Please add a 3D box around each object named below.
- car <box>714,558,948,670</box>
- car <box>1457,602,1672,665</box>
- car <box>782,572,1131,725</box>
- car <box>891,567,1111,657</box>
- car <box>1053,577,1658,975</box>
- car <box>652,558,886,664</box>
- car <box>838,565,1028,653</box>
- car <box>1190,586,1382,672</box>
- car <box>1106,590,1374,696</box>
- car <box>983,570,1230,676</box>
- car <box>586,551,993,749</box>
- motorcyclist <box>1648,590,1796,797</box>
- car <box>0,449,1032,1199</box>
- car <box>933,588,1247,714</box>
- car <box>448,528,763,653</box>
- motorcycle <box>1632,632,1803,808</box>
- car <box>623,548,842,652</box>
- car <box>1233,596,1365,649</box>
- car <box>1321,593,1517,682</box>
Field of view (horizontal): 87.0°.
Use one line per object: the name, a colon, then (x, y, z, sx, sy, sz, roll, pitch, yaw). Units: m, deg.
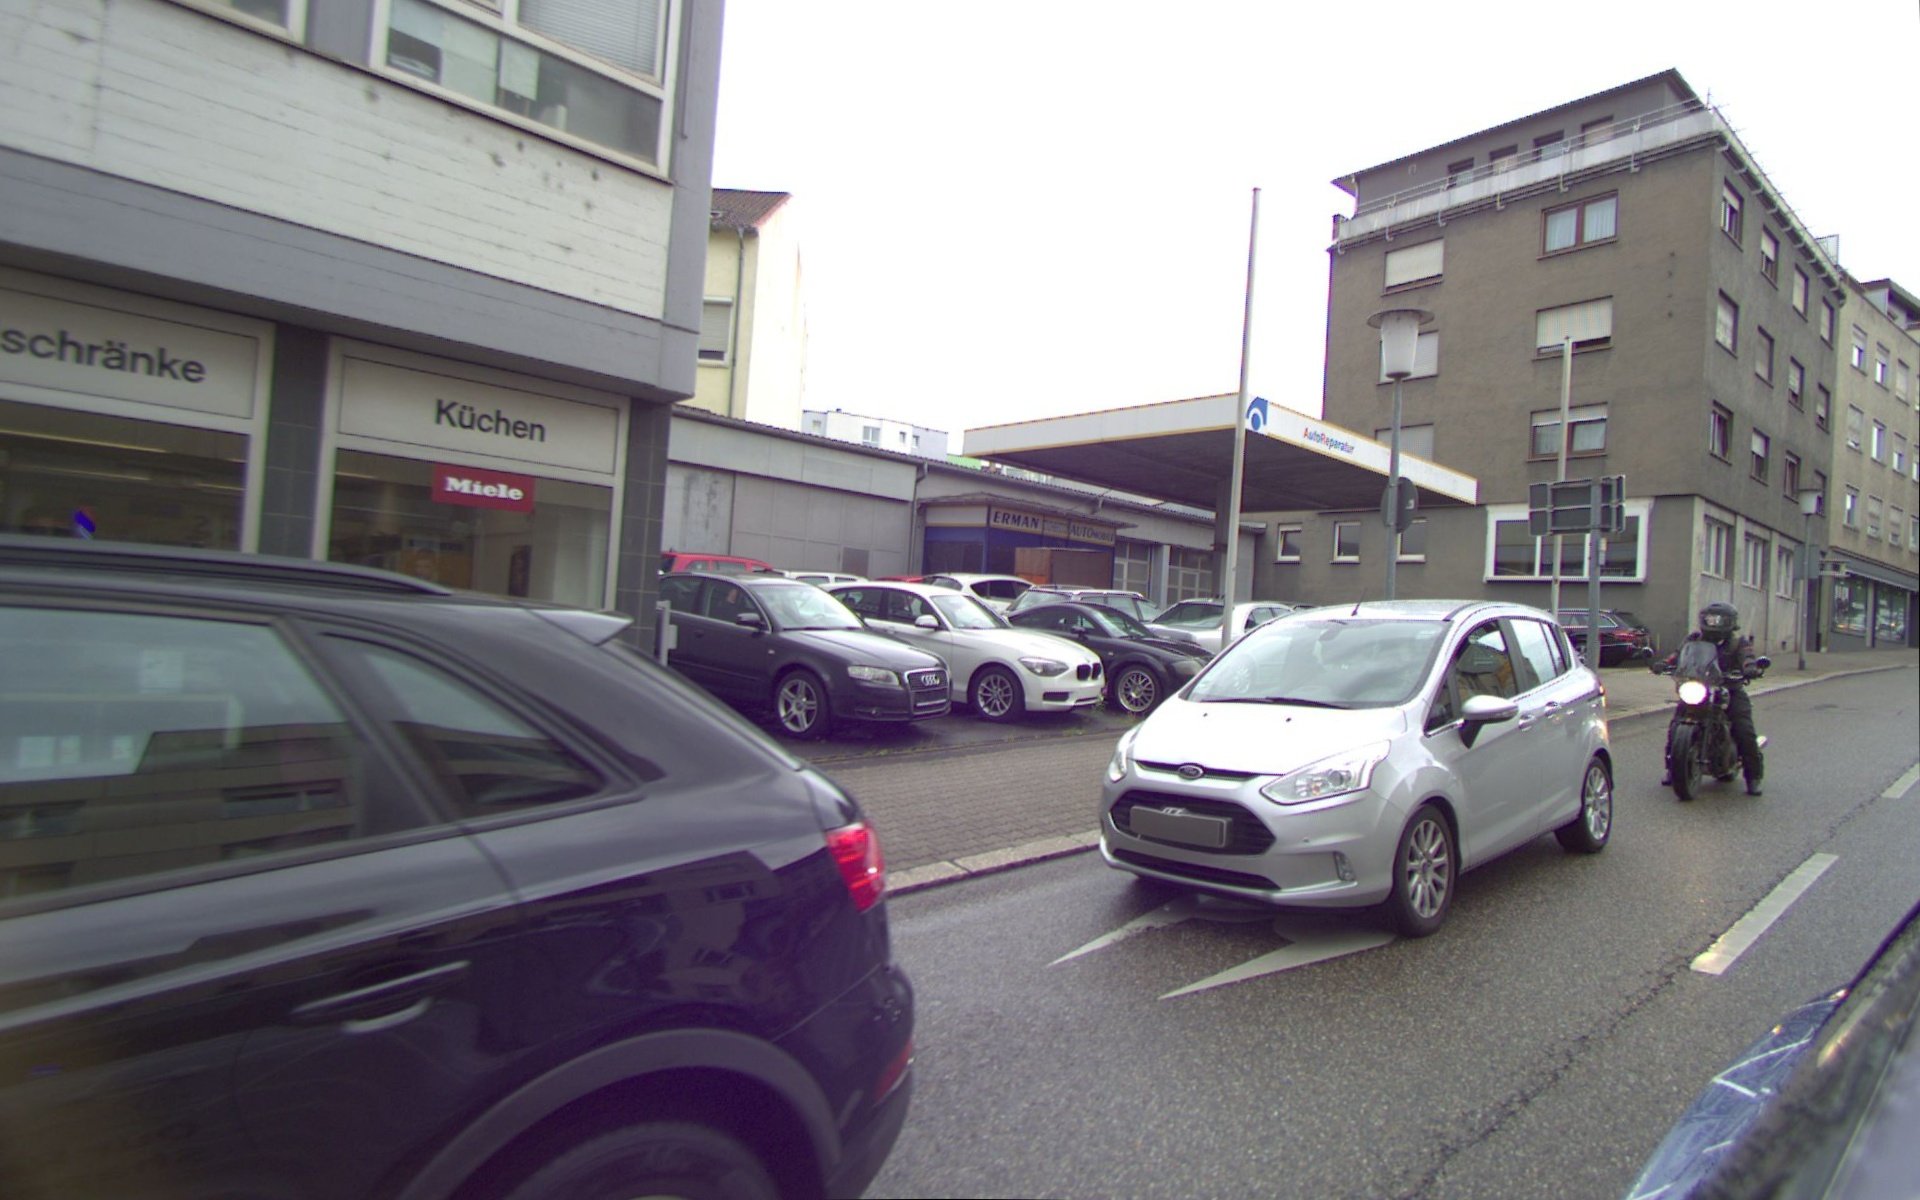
car: (-2.135, 0.201, 17.055, 3.456, 1.619, 1.793, 1, 3, -40)
car: (15.954, 0.833, 26.934, 1.962, 1.523, 4.534, 1, -1, -36)
car: (-0.110, 0.471, 12.333, 3.973, 1.549, 1.742, 2, 1, 34)
car: (0.901, 0.216, 20.292, 4.340, 1.620, 1.792, 1, 1, -40)
car: (2.625, 0.734, 6.123, 4.182, 1.561, 1.827, 1, -3, -44)
car: (-3.474, 0.177, 18.780, 3.879, 1.752, 1.792, 1, 1, -40)
car: (-0.538, 0.176, 22.104, 3.879, 1.752, 1.792, 1, 1, -40)
car: (7.058, 0.627, 21.700, 4.339, 1.530, 1.793, 3, 3, -40)
car: (4.602, 0.623, 16.305, 4.531, 1.433, 1.793, 1, 2, -38)
car: (2.701, 0.419, 18.056, 4.411, 1.563, 1.793, 3, 3, -40)
car: (-1.848, 0.379, 10.514, 3.973, 1.468, 1.777, 6, 3, 33)
motorcyclist: (6.414, 0.740, 8.520, 0.845, 1.610, 0.947, -2, -2, 44)
car: (-1.995, 0.649, 1.387, 4.129, 1.580, 1.825, 0, -1, -42)
car: (1.712, 0.596, 13.927, 3.975, 1.418, 1.650, 2, 1, 36)
car: (-5.032, -0.149, 14.598, 3.879, 1.541, 1.793, 1, 3, -40)
motorcycle: (6.446, 0.913, 8.551, 0.844, 1.241, 2.335, -2, -2, 44)
car: (-4.627, -0.009, 20.874, 4.032, 1.934, 1.792, 1, 1, -40)
car: (11.228, 0.722, 33.692, 1.761, 1.472, 3.753, 3, 0, -38)
car: (9.099, 0.678, 19.912, 4.358, 1.531, 1.792, 1, 1, -40)
